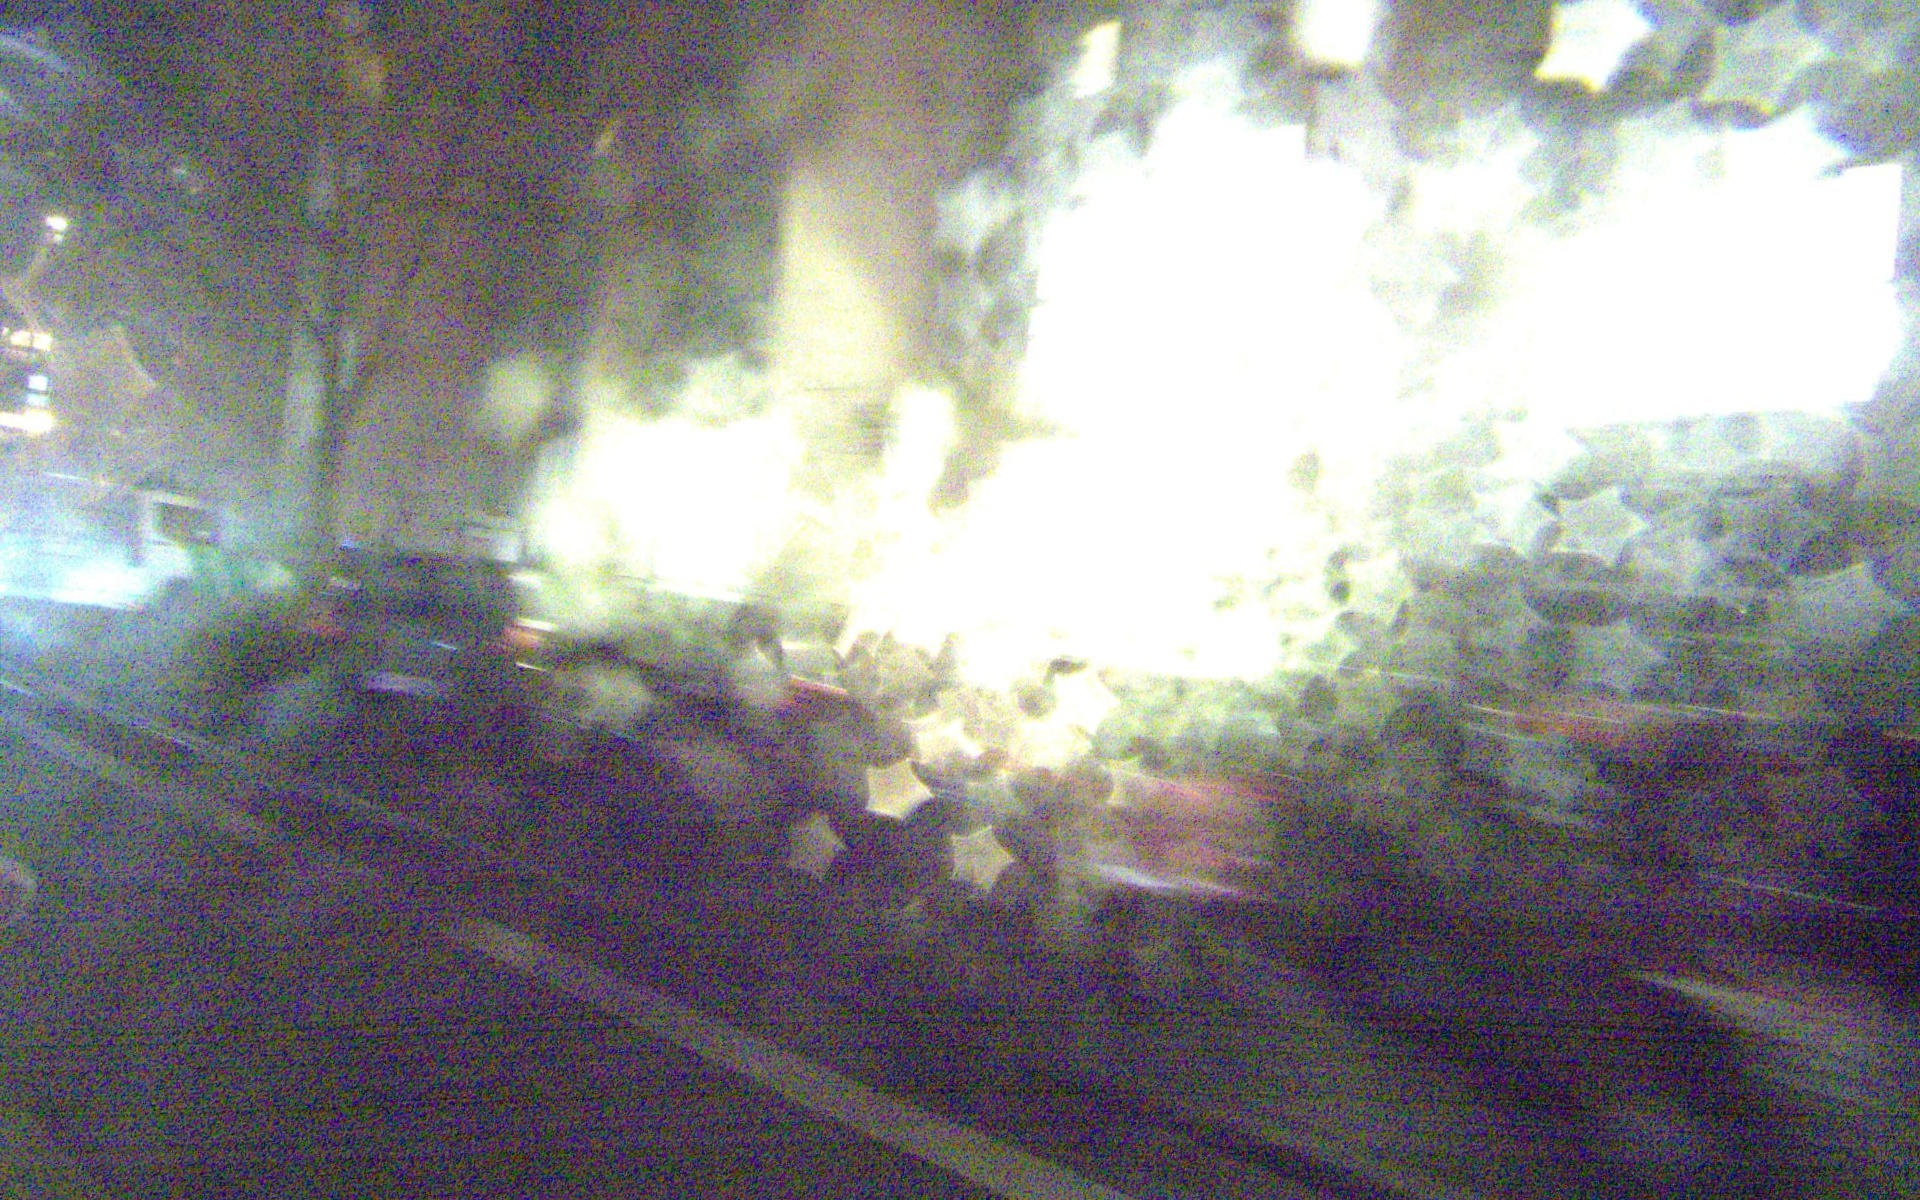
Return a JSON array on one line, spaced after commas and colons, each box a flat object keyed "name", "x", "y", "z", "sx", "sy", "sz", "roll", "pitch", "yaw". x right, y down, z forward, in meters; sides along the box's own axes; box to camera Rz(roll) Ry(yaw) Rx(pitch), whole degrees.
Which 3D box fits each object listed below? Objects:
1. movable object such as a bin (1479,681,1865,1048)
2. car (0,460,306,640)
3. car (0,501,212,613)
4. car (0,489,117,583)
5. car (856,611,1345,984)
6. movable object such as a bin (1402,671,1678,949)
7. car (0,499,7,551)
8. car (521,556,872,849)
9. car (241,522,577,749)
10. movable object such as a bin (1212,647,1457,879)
[{"name": "movable object such as a bin", "x": 3.485, "y": 1.211, "z": 5.134, "sx": 1.007, "sy": 1.424, "sz": 1.353, "roll": 7, "pitch": 0, "yaw": 11}, {"name": "car", "x": -10.974, "y": -0.558, "z": 13.560, "sx": 1.931, "sy": 1.859, "sz": 4.169, "roll": 8, "pitch": -3, "yaw": -10}, {"name": "car", "x": -13.368, "y": -0.630, "z": 15.226, "sx": 1.602, "sy": 1.401, "sz": 3.337, "roll": 7, "pitch": -2, "yaw": -4}, {"name": "car", "x": -16.251, "y": -1.132, "z": 16.747, "sx": 1.667, "sy": 1.421, "sz": 4.440, "roll": 8, "pitch": 0, "yaw": -17}, {"name": "car", "x": 0.476, "y": 0.939, "z": 6.304, "sx": 1.741, "sy": 1.474, "sz": 3.785, "roll": 8, "pitch": -2, "yaw": -11}, {"name": "movable object such as a bin", "x": 3.665, "y": 1.256, "z": 6.544, "sx": 1.007, "sy": 1.424, "sz": 1.412, "roll": 7, "pitch": 0, "yaw": 11}, {"name": "car", "x": -21.714, "y": -1.658, "z": 20.316, "sx": 1.793, "sy": 1.449, "sz": 3.847, "roll": 8, "pitch": -2, "yaw": -14}, {"name": "car", "x": -1.986, "y": 0.589, "z": 7.541, "sx": 1.780, "sy": 1.506, "sz": 3.843, "roll": 7, "pitch": -1, "yaw": -16}, {"name": "car", "x": -4.687, "y": 0.303, "z": 9.195, "sx": 1.575, "sy": 1.454, "sz": 3.828, "roll": 8, "pitch": -2, "yaw": -13}, {"name": "movable object such as a bin", "x": 2.859, "y": 1.172, "z": 7.681, "sx": 1.396, "sy": 1.424, "sz": 1.023, "roll": 7, "pitch": 0, "yaw": 37}]
